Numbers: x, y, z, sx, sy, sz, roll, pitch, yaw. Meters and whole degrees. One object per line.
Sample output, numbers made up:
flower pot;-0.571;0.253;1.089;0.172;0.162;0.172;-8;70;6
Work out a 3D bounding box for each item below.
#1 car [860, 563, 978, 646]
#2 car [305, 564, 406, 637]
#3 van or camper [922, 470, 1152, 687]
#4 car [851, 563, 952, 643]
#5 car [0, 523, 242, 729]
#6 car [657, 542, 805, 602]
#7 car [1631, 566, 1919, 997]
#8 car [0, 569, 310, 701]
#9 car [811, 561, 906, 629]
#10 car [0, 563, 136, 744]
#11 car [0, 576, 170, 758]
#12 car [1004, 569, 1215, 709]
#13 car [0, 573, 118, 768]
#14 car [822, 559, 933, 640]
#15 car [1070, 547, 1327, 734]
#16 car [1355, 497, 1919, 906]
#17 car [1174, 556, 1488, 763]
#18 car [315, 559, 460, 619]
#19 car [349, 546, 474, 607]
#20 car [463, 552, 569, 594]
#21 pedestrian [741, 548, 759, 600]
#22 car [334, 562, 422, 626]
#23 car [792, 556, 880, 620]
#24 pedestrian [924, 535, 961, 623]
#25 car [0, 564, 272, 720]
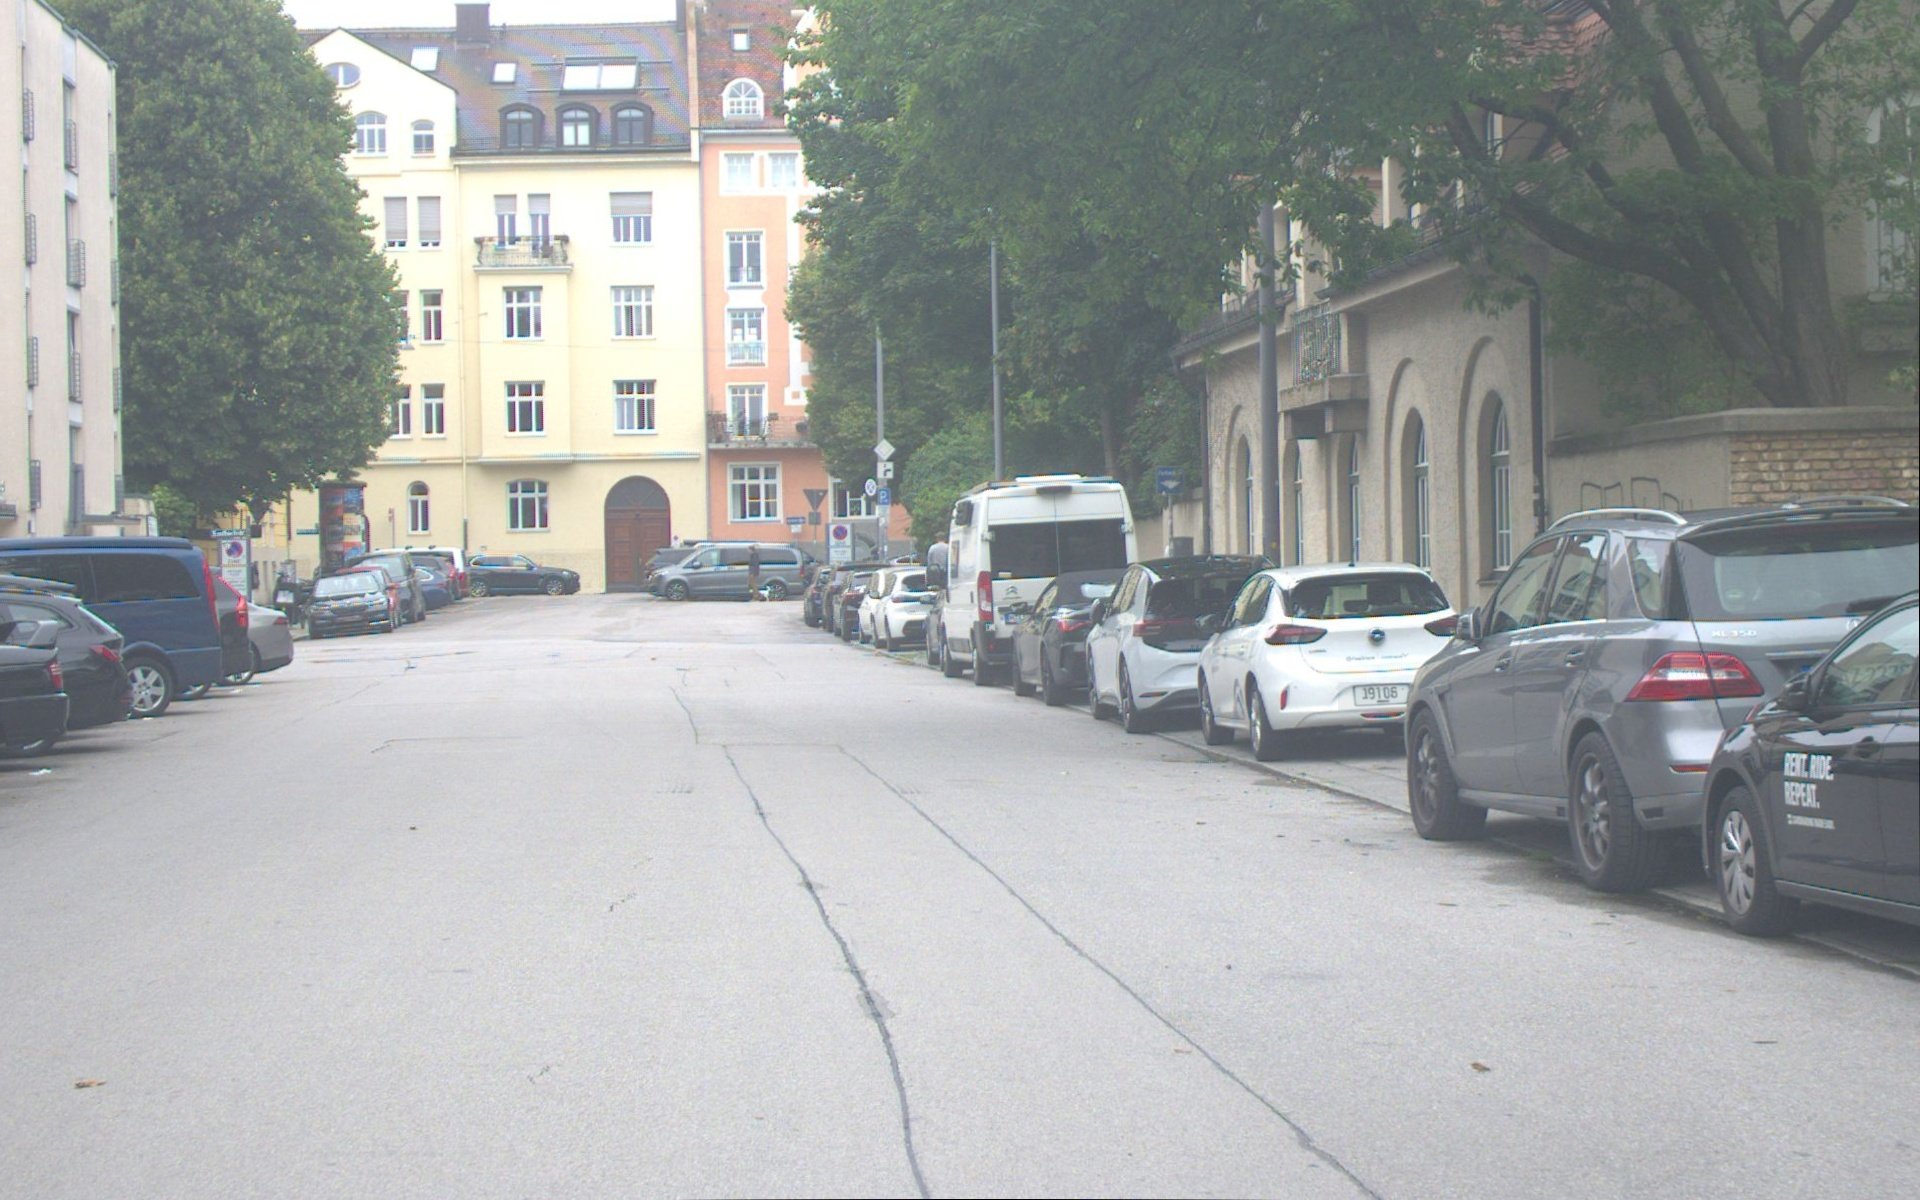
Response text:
car;-0.781;0.056;62.910;1.707;1.403;4.131;-2;1;-6
car;-13.957;-0.009;79.516;1.834;1.503;4.001;-4;1;-5
van or camper;0.905;-0.295;44.619;2.192;2.541;5.729;-3;1;-6
car;-1.181;0.030;67.836;1.707;1.461;3.838;-2;1;-4
car;-10.038;0.295;36.752;4.204;2.059;1.737;-3;1;-34
car;-7.490;-0.923;112.310;4.703;1.874;1.840;-1;1;-6
car;4.113;0.607;12.741;1.876;1.422;4.223;-3;1;-8
car;-11.380;0.472;48.049;4.107;1.604;1.737;-3;1;-37
car;-2.312;-0.134;77.509;1.670;1.339;3.839;-2;2;-8
car;-9.957;0.556;31.715;4.204;1.604;1.737;-3;1;-30
car;-9.038;0.626;29.204;4.203;1.456;1.737;-3;1;-26
car;1.577;0.384;37.791;1.707;1.364;4.441;-2;1;-5
car;-8.843;0.624;26.430;4.205;1.456;1.737;-3;1;-35
car;-1.757;-0.034;72.097;1.802;1.461;3.839;-3;2;-9
car;2.143;0.321;32.022;1.707;1.532;4.240;-3;1;-4
car;3.606;0.389;17.356;1.993;1.705;4.886;-3;1;-8
car;2.818;0.422;26.919;1.685;1.436;4.001;-2;0;-4
car;-16.881;-0.333;101.499;3.986;1.503;1.840;-4;1;-5
car;-18.830;-0.818;118.146;3.986;1.793;1.840;-4;1;-5
car;-17.303;-1.053;134.087;3.986;1.581;1.703;-1;1;-4
pedestrian;-6.619;-0.821;108.393;0.463;1.651;0.573;-1;1;-10
car;-15.259;-0.180;90.299;1.834;1.503;4.001;-4;1;-5
car;-3.002;-0.313;82.389;1.670;1.339;3.839;-2;2;-8
pedestrian;-0.410;-0.484;78.662;0.773;2.007;0.563;-1;1;-5
car;-10.681;0.509;41.865;4.107;1.702;1.737;-3;1;-35
